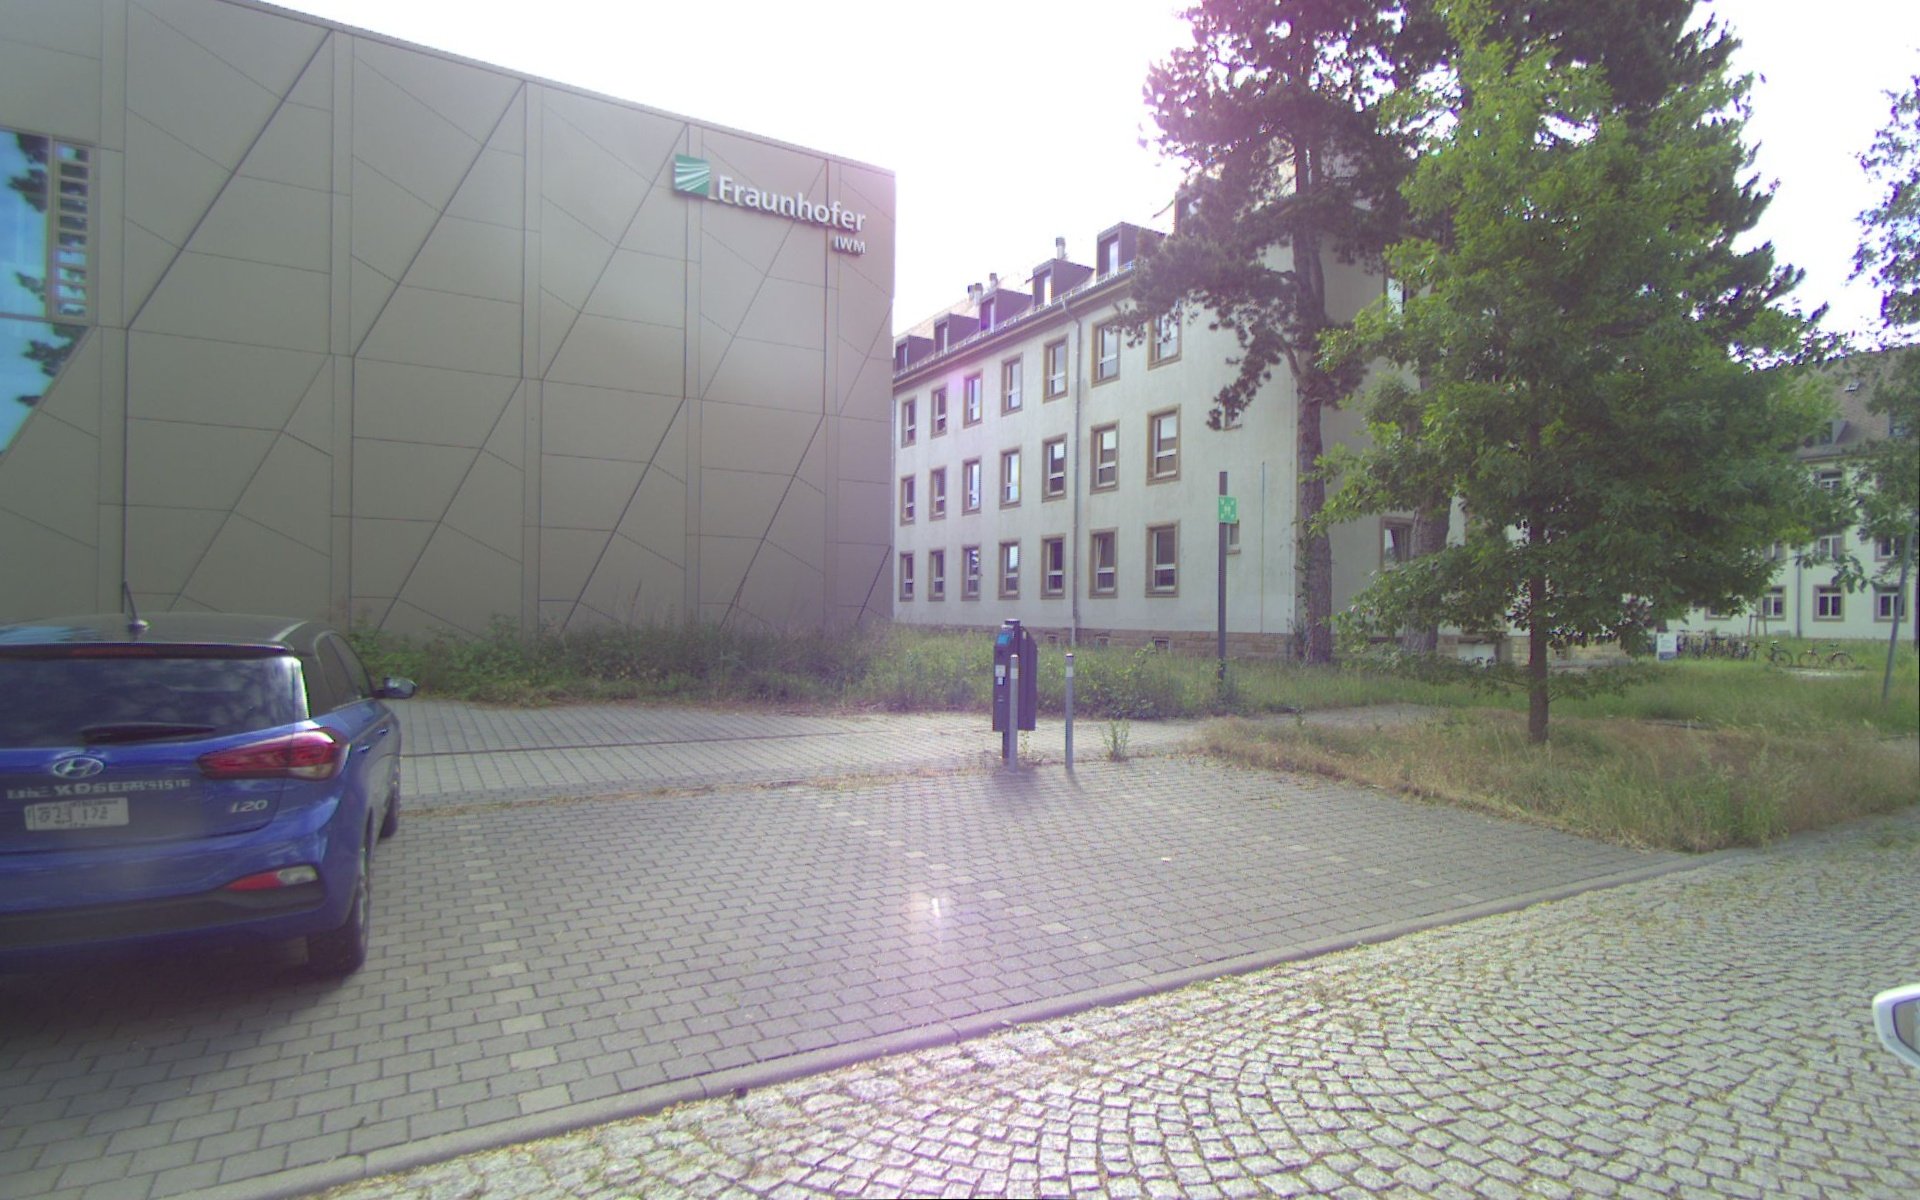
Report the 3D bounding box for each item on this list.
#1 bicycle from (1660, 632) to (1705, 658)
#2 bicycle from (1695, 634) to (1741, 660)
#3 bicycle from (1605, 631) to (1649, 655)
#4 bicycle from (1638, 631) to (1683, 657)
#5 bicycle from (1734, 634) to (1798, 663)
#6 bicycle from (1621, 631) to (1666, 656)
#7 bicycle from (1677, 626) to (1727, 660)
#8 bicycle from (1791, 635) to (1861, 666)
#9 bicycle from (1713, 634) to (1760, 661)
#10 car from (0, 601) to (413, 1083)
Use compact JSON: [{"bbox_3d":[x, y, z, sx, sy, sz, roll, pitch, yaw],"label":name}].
[{"bbox_3d":[31.429,1.968,43.685,2.246,1.090,0.732,1,-1,-30],"label":"bicycle"},{"bbox_3d":[31.780,1.964,42.103,2.246,1.090,0.732,1,-1,-30],"label":"bicycle"},{"bbox_3d":[30.127,1.937,45.334,2.246,1.090,0.732,1,-1,-30],"label":"bicycle"},{"bbox_3d":[30.697,1.936,44.000,2.246,1.090,0.732,1,-1,-30],"label":"bicycle"},{"bbox_3d":[31.813,1.908,39.658,0.729,1.090,1.849,1,-1,-27],"label":"bicycle"},{"bbox_3d":[30.404,1.939,44.675,2.246,1.090,0.732,1,-1,-30],"label":"bicycle"},{"bbox_3d":[31.724,1.827,42.932,2.679,1.404,0.732,1,-1,-30],"label":"bicycle"},{"bbox_3d":[32.758,1.894,38.032,0.821,1.090,1.849,1,-1,-27],"label":"bicycle"},{"bbox_3d":[32.158,1.955,41.584,2.246,1.090,0.732,1,-1,-30],"label":"bicycle"},{"bbox_3d":[-3.857,0.803,5.006,1.828,1.498,3.752,1,0,-27],"label":"car"}]
